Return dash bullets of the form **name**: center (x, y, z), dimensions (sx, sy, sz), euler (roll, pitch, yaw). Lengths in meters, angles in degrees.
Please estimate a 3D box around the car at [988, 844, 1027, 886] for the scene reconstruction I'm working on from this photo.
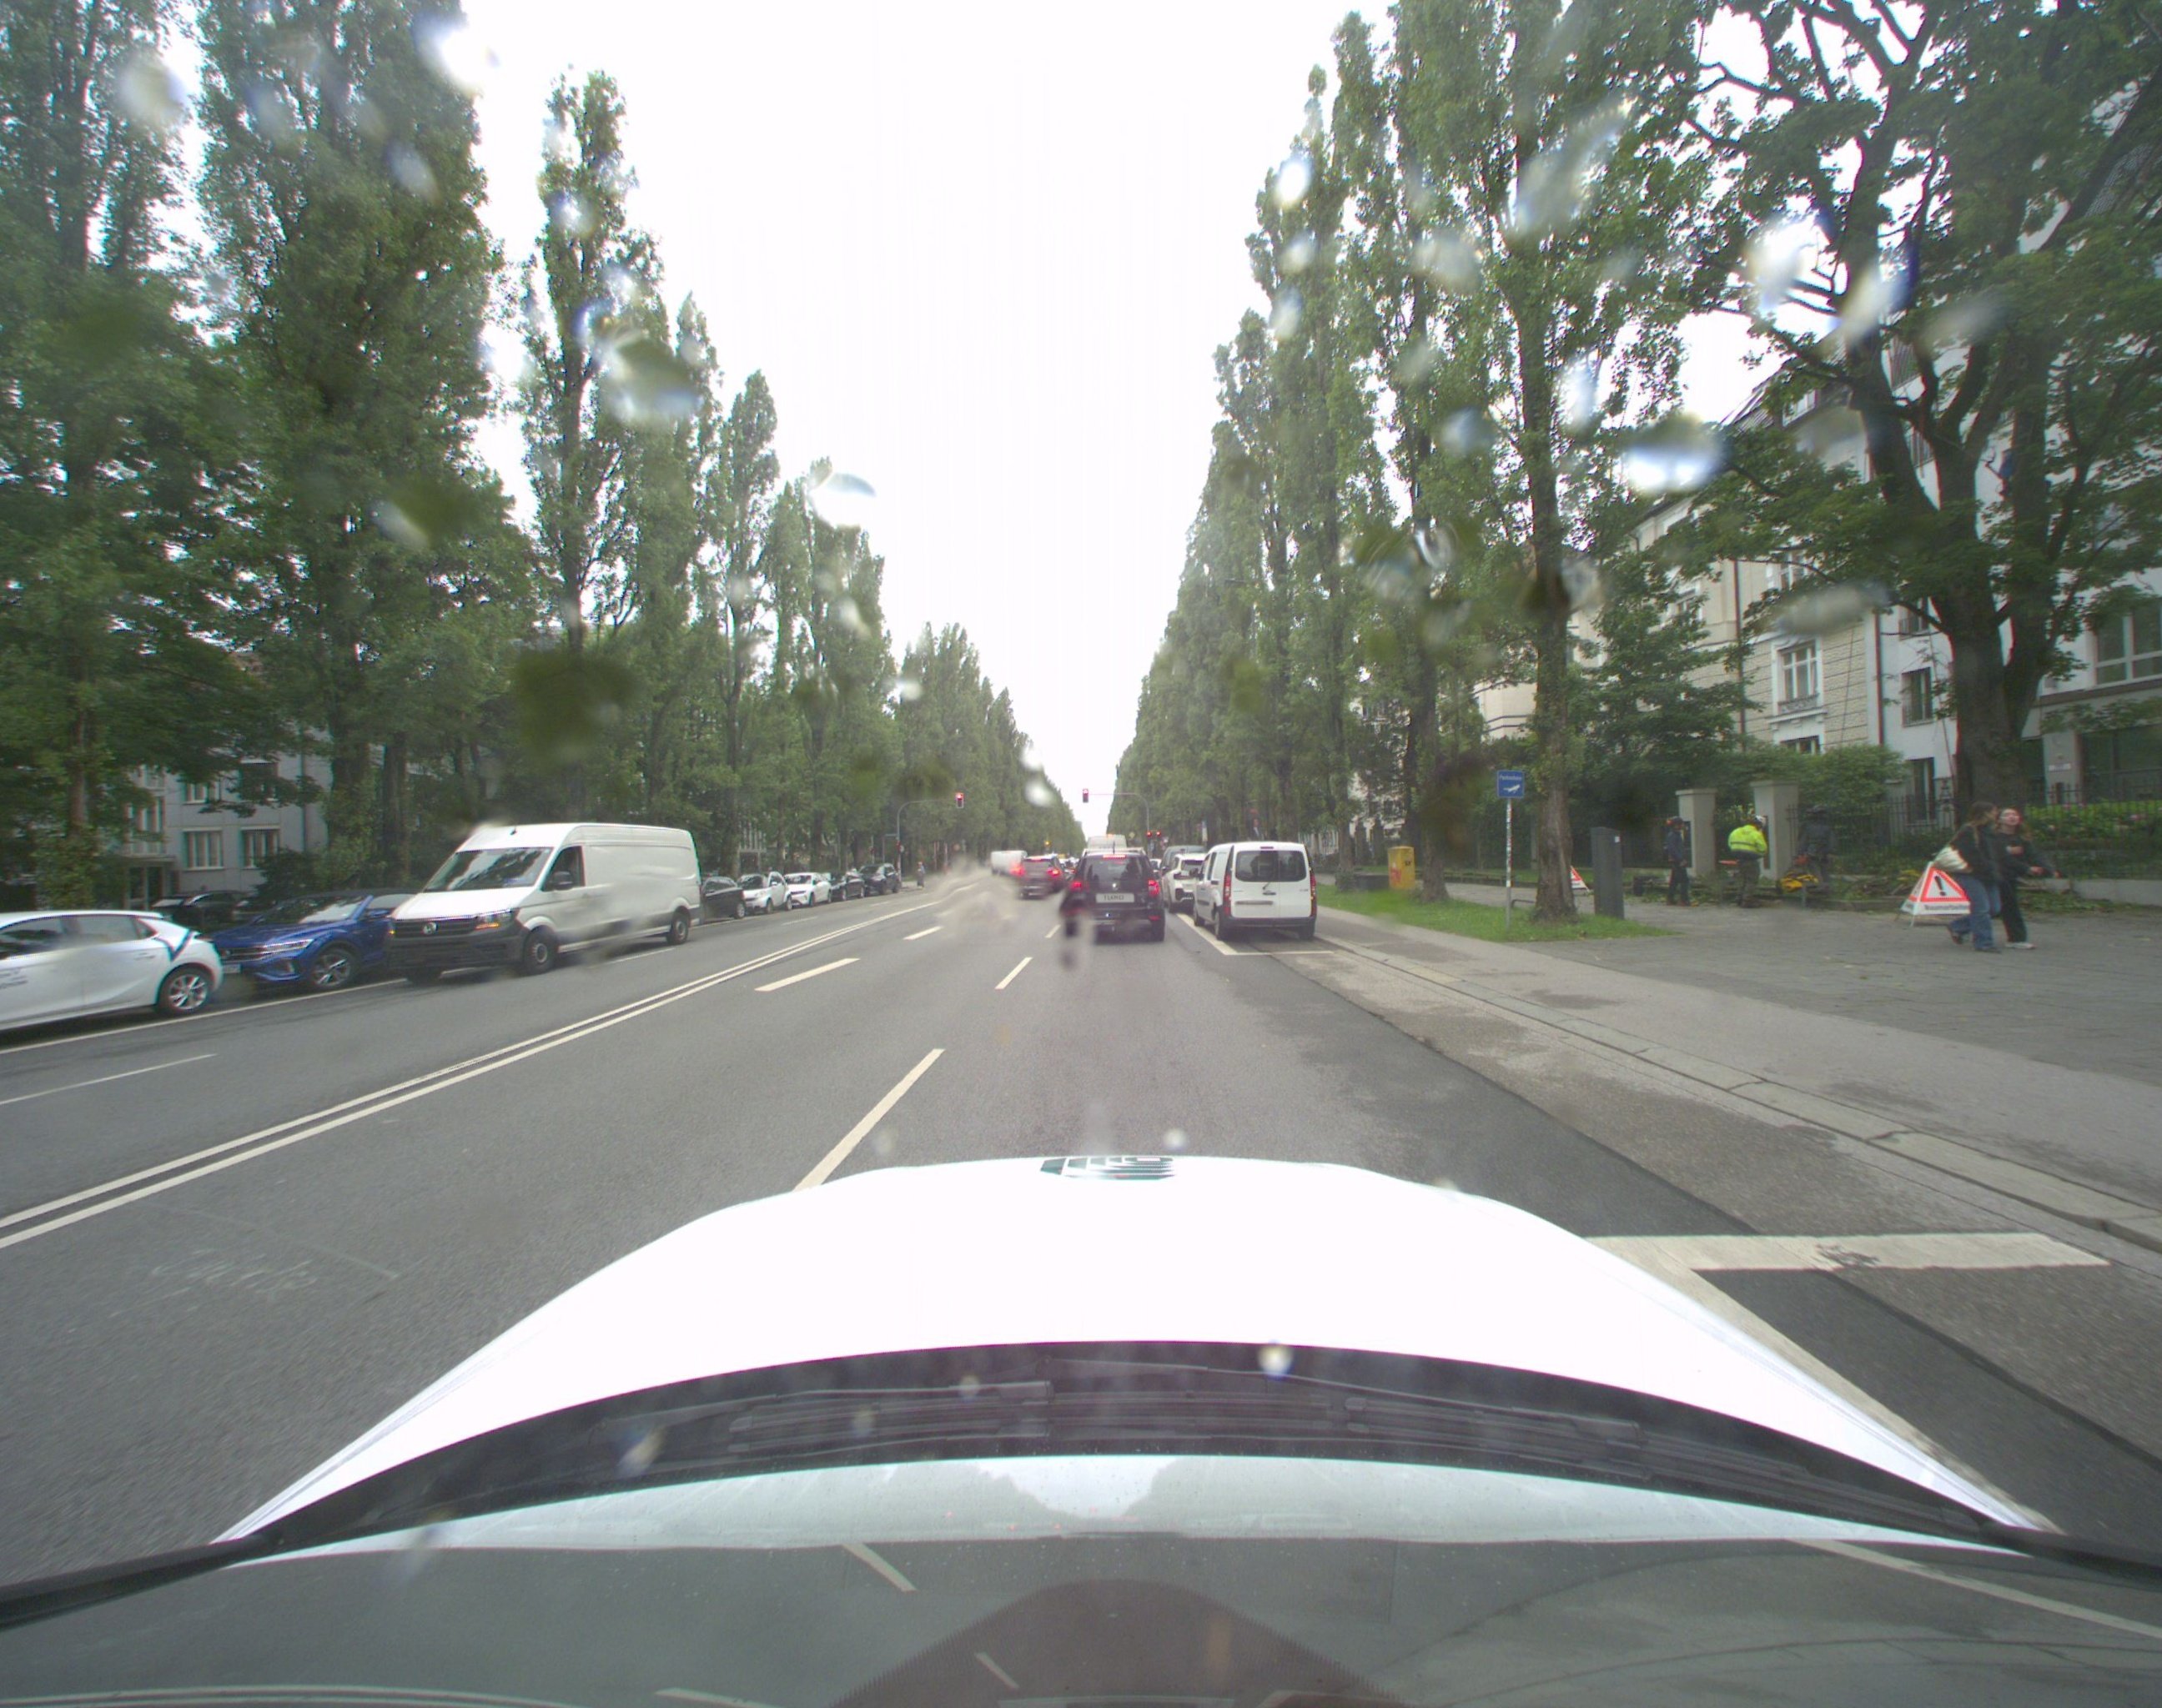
- **car**: center (-3.917, 0.557, 43.906), dimensions (1.776, 2.111, 4.022), euler (-2, 0, -1)

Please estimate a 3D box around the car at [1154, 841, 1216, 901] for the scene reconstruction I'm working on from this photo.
- **car**: center (3.569, 0.533, 28.574), dimensions (1.729, 1.895, 4.026), euler (-2, 0, 1)

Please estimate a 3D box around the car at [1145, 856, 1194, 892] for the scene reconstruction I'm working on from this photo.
- **car**: center (3.700, 0.815, 34.649), dimensions (1.729, 1.387, 3.563), euler (-2, 0, 1)

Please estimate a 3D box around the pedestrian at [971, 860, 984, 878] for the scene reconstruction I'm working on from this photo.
- **pedestrian**: center (-9.789, 1.379, 76.949), dimensions (0.887, 1.655, 0.868), euler (-2, 0, -36)

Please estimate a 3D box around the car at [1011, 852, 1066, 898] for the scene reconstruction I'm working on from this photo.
- **car**: center (-1.596, 0.775, 31.805), dimensions (1.775, 1.620, 4.026), euler (-2, 0, 1)

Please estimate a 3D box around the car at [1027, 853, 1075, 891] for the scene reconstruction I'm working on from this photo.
- **car**: center (-1.359, 0.788, 38.161), dimensions (1.987, 1.560, 4.000), euler (-2, 0, 1)

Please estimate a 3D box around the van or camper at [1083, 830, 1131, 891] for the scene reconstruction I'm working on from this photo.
- **van or camper**: center (1.120, 0.272, 37.360), dimensions (1.969, 2.548, 4.024), euler (-2, 0, 0)

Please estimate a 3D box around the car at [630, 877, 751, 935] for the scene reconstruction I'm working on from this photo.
- **car**: center (-11.893, 1.535, 25.103), dimensions (1.594, 1.425, 3.854), euler (-5, 0, 3)

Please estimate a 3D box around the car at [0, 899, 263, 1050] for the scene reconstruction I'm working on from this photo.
- **car**: center (-12.364, 1.424, 9.244), dimensions (1.765, 1.452, 4.233), euler (-5, 0, 0)

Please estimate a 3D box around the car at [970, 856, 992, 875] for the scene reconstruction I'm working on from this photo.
- **car**: center (-10.435, 1.198, 85.315), dimensions (1.682, 1.783, 3.776), euler (-2, 0, 2)

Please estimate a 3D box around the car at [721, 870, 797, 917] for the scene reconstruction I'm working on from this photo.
- **car**: center (-11.788, 1.419, 29.993), dimensions (1.422, 1.447, 2.966), euler (-5, 0, 1)

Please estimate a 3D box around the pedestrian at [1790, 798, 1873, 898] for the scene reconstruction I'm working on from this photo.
- **pedestrian**: center (14.106, -0.129, 15.313), dimensions (0.904, 1.800, 0.825), euler (-3, 2, -20)

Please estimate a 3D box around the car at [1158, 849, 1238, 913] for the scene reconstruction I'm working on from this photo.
- **car**: center (3.253, 0.685, 23.303), dimensions (1.734, 1.593, 4.213), euler (-2, 0, 2)

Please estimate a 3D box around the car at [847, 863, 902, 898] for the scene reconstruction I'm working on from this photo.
- **car**: center (-11.485, 1.443, 45.587), dimensions (1.844, 1.654, 4.694), euler (-4, 0, -1)

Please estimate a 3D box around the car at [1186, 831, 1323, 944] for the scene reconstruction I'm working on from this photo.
- **car**: center (3.273, 0.570, 16.222), dimensions (1.844, 1.881, 4.169), euler (-2, 0, 1)

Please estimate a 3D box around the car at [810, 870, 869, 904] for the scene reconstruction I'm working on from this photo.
- **car**: center (-11.695, 1.559, 39.704), dimensions (1.619, 1.389, 4.165), euler (-4, 0, -1)

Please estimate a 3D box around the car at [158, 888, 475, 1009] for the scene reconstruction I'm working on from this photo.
- **car**: center (-12.174, 1.408, 13.342), dimensions (1.704, 1.451, 3.585), euler (-4, 0, 0)

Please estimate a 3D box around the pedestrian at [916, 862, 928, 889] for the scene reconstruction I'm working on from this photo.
- **pedestrian**: center (-9.851, 1.327, 50.385), dimensions (0.526, 1.577, 0.663), euler (-3, 0, 2)

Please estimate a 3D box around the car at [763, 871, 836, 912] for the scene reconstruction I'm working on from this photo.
- **car**: center (-11.744, 1.528, 34.231), dimensions (1.619, 1.389, 4.164), euler (-4, 0, -2)

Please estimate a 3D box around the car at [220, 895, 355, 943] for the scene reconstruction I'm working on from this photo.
- **car**: center (-35.504, 2.853, 36.602), dimensions (1.986, 1.772, 4.002), euler (-2, 0, 2)

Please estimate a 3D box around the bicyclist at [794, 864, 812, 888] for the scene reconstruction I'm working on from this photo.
- **bicyclist**: center (-20.342, 1.623, 59.647), dimensions (0.900, 1.722, 0.827), euler (-3, 0, 11)

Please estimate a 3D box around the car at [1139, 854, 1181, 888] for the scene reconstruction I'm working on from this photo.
- **car**: center (3.835, 0.797, 39.951), dimensions (1.729, 1.475, 3.563), euler (-2, 0, 1)

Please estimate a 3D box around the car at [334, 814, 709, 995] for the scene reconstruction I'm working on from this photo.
- **car**: center (-9.683, 0.736, 15.234), dimensions (2.221, 2.483, 6.756), euler (-4, 0, 0)

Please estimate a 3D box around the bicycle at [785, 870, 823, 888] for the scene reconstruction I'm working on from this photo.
- **bicycle**: center (-20.294, 1.840, 59.622), dimensions (2.519, 1.237, 0.815), euler (-3, 0, 11)

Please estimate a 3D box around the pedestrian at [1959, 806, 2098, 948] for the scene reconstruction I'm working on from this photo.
- **pedestrian**: center (11.183, 0.263, 9.642), dimensions (0.566, 1.578, 0.867), euler (-3, 0, 1)

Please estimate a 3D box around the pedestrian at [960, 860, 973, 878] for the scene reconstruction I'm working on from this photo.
- **pedestrian**: center (-10.670, 1.391, 75.873), dimensions (0.887, 1.655, 0.868), euler (-2, 0, -36)

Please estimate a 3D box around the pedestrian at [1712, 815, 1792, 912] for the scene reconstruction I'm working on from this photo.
- **pedestrian**: center (12.923, 0.177, 15.709), dimensions (0.801, 1.782, 0.816), euler (-2, 0, -16)

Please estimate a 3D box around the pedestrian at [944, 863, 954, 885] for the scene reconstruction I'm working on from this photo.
- **pedestrian**: center (-8.881, 1.340, 54.914), dimensions (0.515, 1.485, 0.537), euler (-3, 0, 2)

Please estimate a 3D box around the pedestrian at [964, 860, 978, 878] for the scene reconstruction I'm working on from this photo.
- **pedestrian**: center (-10.167, 1.373, 75.141), dimensions (0.887, 1.655, 0.868), euler (-2, 0, -36)

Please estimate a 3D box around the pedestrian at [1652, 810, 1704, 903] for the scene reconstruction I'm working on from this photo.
- **pedestrian**: center (12.332, 0.056, 16.830), dimensions (0.487, 1.862, 0.635), euler (-2, 0, -16)

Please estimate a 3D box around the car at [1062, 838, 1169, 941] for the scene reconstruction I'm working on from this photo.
- **car**: center (0.657, 0.615, 16.060), dimensions (1.849, 1.770, 4.002), euler (0, 0, 2)

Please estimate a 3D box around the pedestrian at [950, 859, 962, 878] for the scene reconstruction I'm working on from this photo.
- **pedestrian**: center (-11.968, 1.378, 77.988), dimensions (0.874, 1.764, 0.881), euler (-2, 0, 11)

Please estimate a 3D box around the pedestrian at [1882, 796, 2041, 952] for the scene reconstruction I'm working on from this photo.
- **pedestrian**: center (10.432, 0.230, 9.685), dimensions (0.850, 1.717, 0.867), euler (-3, 0, 1)

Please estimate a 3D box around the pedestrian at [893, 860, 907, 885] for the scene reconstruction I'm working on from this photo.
- **pedestrian**: center (-11.559, 1.189, 52.047), dimensions (0.657, 1.577, 0.530), euler (-3, 0, 2)
